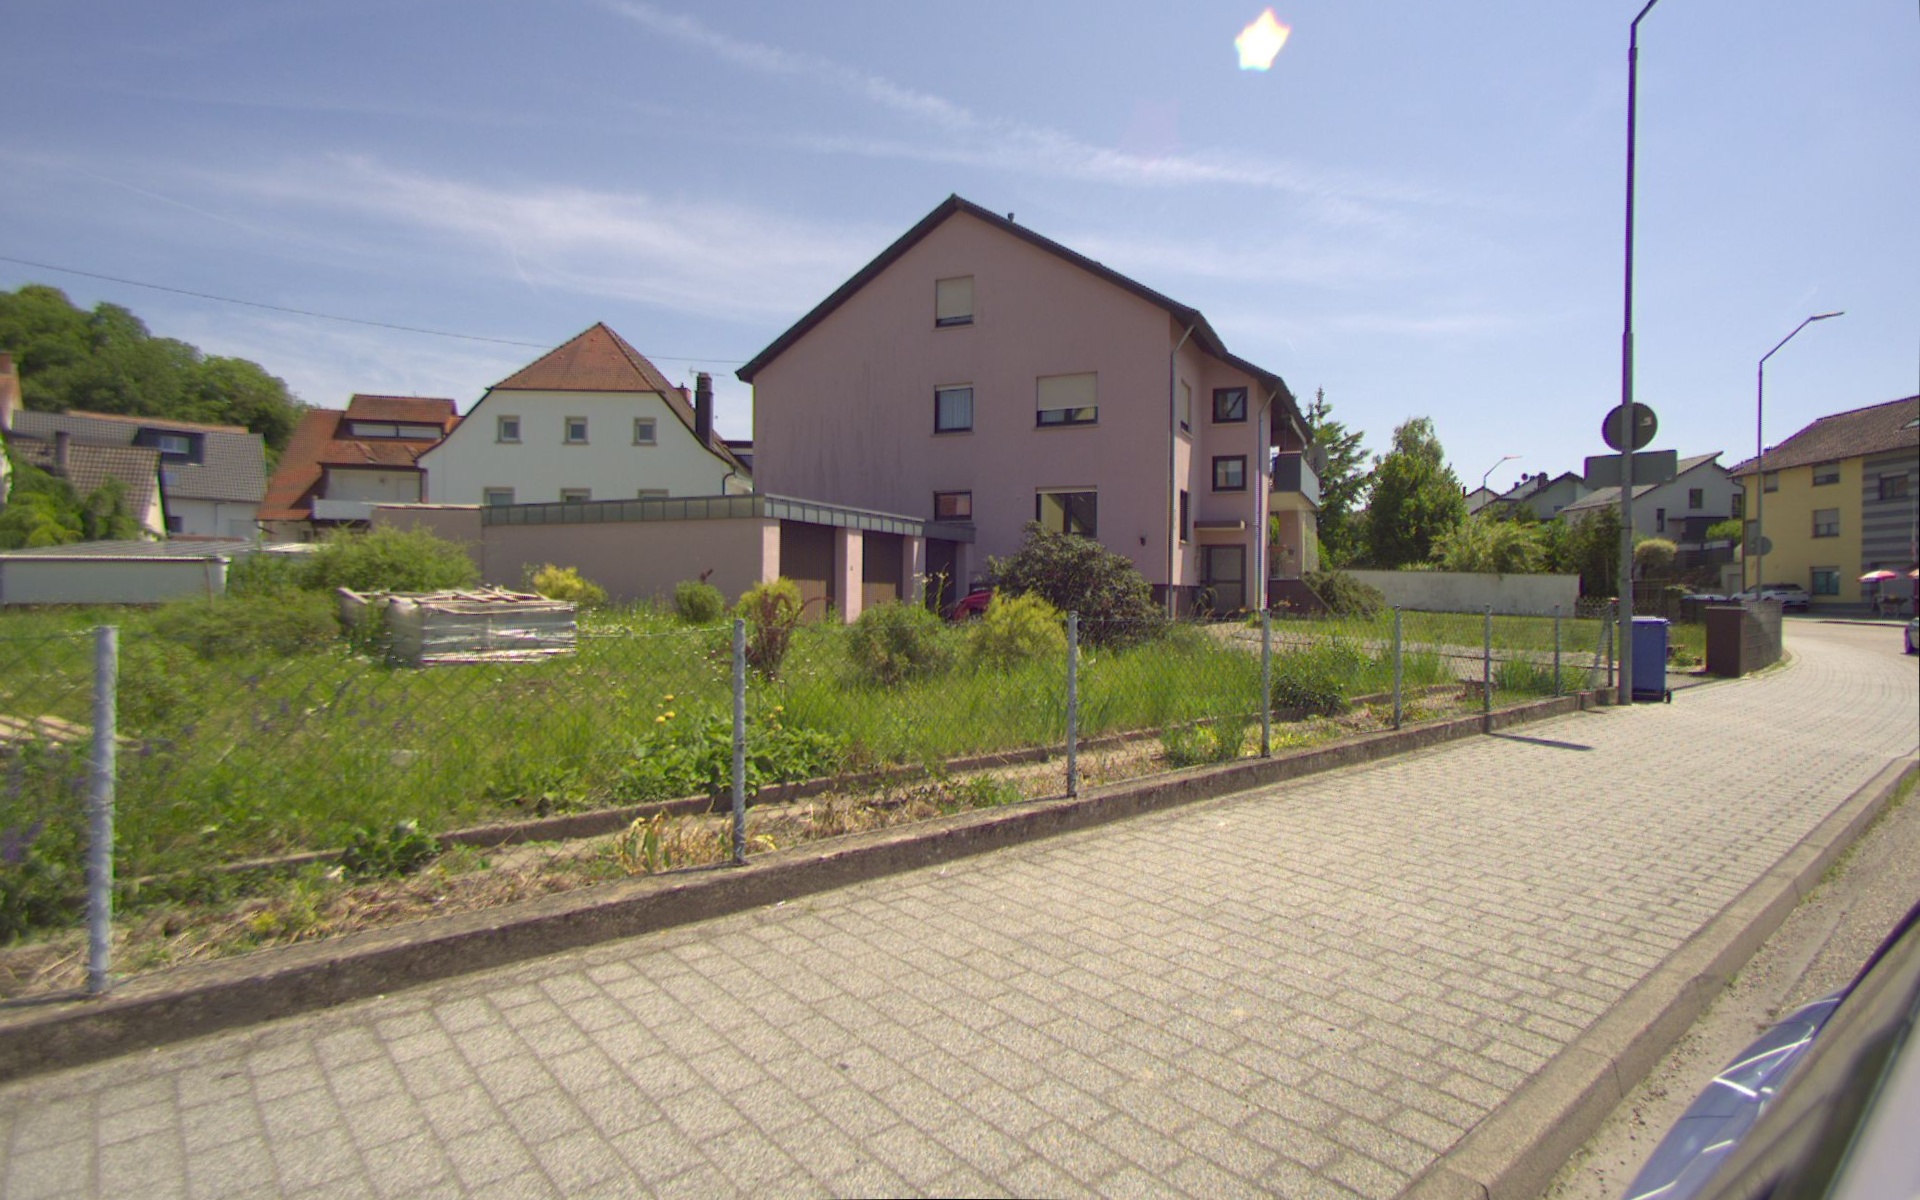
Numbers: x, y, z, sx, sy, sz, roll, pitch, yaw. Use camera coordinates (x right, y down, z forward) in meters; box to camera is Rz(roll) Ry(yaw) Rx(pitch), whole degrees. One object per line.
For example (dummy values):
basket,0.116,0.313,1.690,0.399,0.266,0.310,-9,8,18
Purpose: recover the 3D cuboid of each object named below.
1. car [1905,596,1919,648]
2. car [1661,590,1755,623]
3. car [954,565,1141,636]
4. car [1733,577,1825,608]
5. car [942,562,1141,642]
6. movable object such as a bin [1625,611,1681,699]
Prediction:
car,25.051,0.577,24.936,1.801,1.331,3.955,0,1,32
car,32.801,0.258,44.506,1.869,1.393,3.984,0,0,13
car,2.079,-0.005,23.950,4.077,1.567,1.837,0,0,22
car,43.162,-0.427,53.481,1.705,1.571,4.183,0,1,5
car,1.715,-0.005,21.364,3.799,1.504,1.746,2,1,26
movable object such as a bin,8.876,0.684,12.972,0.562,1.071,0.643,1,1,33
